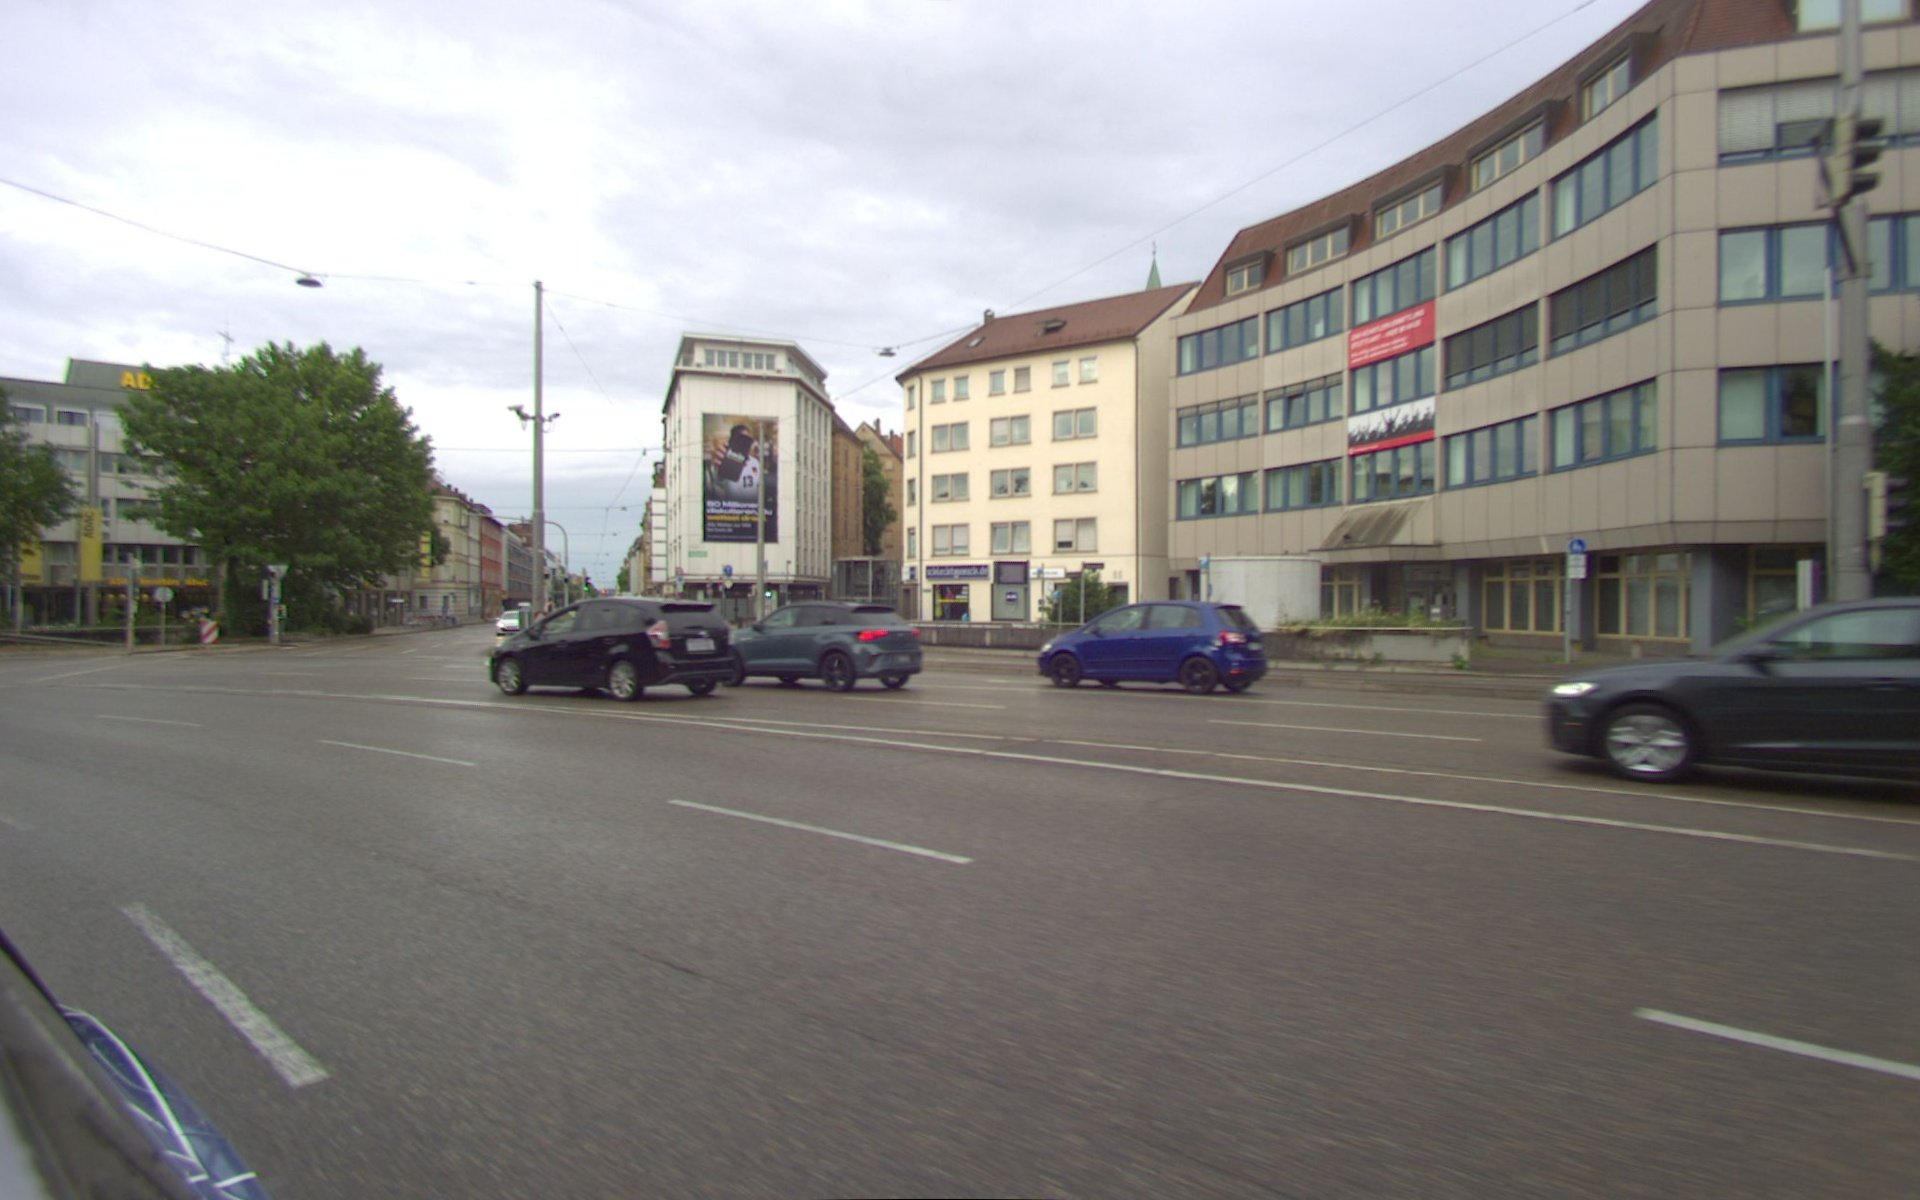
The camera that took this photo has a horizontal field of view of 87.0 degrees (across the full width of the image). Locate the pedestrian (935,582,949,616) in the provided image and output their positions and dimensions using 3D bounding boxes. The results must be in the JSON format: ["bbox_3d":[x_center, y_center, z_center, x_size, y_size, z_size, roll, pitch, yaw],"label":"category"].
[{"bbox_3d":[-1.065,-0.062,59.822,0.675,2.029,0.561,0,-1,31],"label":"pedestrian"}]

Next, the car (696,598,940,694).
[{"bbox_3d":[-2.586,0.758,18.069,4.222,1.524,1.802,0,-1,34],"label":"car"}]

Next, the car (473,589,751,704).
[{"bbox_3d":[-5.694,0.696,16.376,4.578,1.635,1.839,-1,-1,33],"label":"car"}]

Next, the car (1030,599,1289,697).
[{"bbox_3d":[3.419,0.773,17.704,4.115,1.524,1.745,0,-1,38],"label":"car"}]

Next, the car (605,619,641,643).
[{"bbox_3d":[-26.758,2.414,80.223,1.965,1.857,4.454,1,-1,-28],"label":"car"}]

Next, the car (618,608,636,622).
[{"bbox_3d":[-37.701,1.739,114.764,1.844,1.590,4.012,1,-1,-17],"label":"car"}]

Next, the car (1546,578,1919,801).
[{"bbox_3d":[6.675,0.588,7.206,4.081,1.427,1.747,-1,-1,42],"label":"car"}]

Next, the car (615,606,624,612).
[{"bbox_3d":[-76.584,2.104,227.371,1.751,1.331,3.689,0,-1,-16],"label":"car"}]

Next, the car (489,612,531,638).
[{"bbox_3d":[-26.562,1.449,59.866,1.966,1.462,4.242,1,-1,-20],"label":"car"}]

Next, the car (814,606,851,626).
[{"bbox_3d":[-10.776,1.360,86.029,1.899,1.603,3.984,0,-1,12],"label":"car"}]

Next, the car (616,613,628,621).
[{"bbox_3d":[-57.619,2.868,172.514,1.751,1.331,3.689,0,-1,-16],"label":"car"}]

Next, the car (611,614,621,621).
[{"bbox_3d":[-66.956,3.443,197.022,1.751,1.331,3.689,0,-1,-16],"label":"car"}]

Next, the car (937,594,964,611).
[{"bbox_3d":[-0.889,0.215,100.995,1.899,1.602,3.985,0,1,12],"label":"car"}]

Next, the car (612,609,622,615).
[{"bbox_3d":[-72.580,2.497,214.028,1.751,1.331,3.689,0,-1,-16],"label":"car"}]

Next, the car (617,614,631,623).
[{"bbox_3d":[-50.187,2.826,151.129,1.751,1.331,3.688,0,-1,-16],"label":"car"}]
